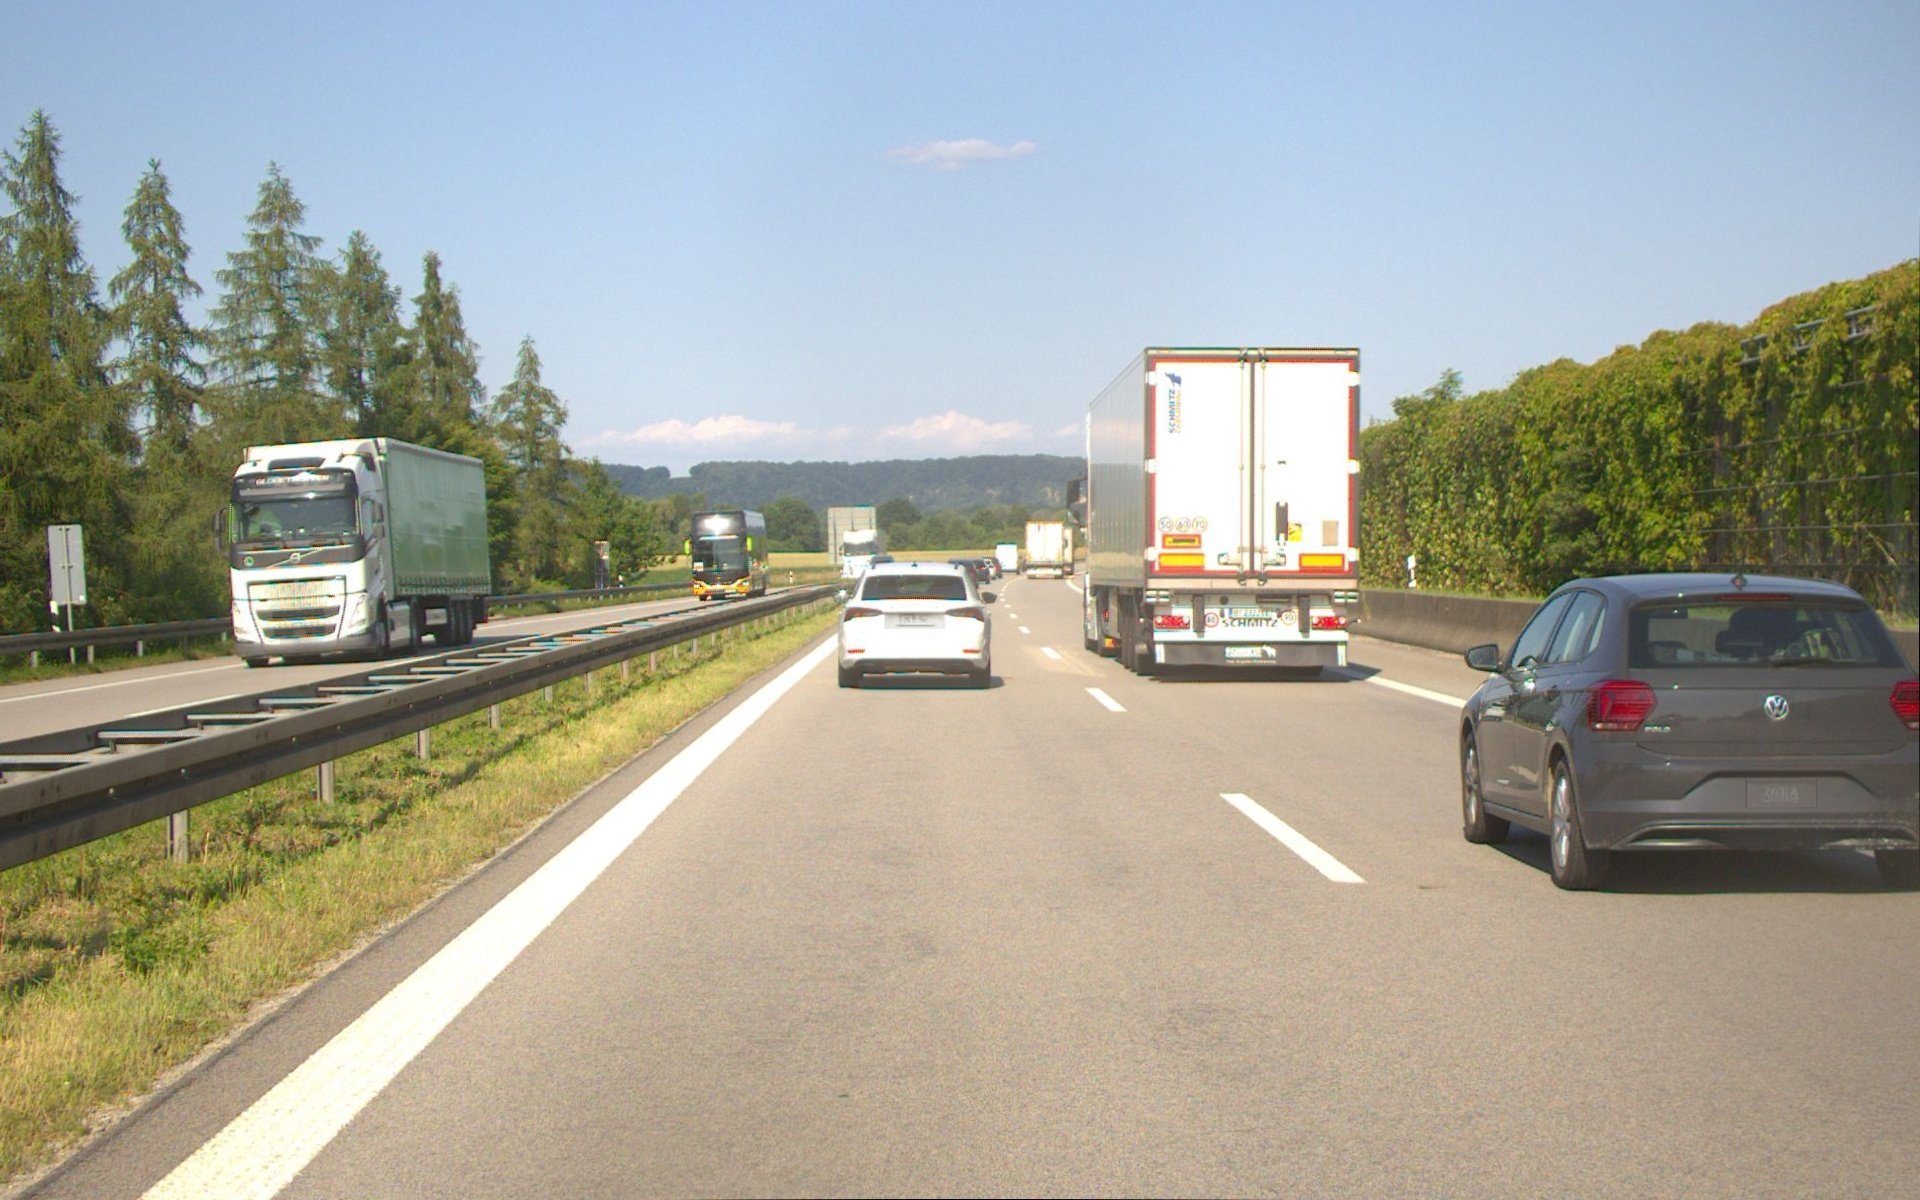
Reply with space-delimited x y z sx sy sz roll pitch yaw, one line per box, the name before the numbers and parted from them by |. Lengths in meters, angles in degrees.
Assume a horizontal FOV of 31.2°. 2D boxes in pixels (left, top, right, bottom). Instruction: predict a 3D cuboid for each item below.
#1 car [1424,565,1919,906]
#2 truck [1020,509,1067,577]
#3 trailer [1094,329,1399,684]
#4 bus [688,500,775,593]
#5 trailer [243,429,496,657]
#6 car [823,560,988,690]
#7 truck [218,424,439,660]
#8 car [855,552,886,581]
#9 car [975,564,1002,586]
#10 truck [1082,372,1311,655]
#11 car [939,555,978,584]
car | 3.466 0.559 17.051 1.665 1.449 4.544 0 1 -1
truck | 5.815 -3.975 240.531 3.152 4.596 8.905 -1 1 1
trailer | 3.512 -1.160 45.881 2.818 3.953 14.161 -1 1 0
bus | -10.563 -2.492 160.518 2.936 4.040 14.669 -2 1 0
trailer | -11.504 -1.122 68.504 2.661 3.994 14.088 -2 1 -1
car | -0.637 0.254 41.197 1.840 1.416 5.255 0 1 -1
truck | -11.479 -1.054 63.156 2.644 3.994 7.193 -2 1 0
car | -5.985 -2.263 230.434 1.754 1.843 5.011 -3 1 1
car | 1.939 -1.712 234.084 1.771 1.416 4.365 0 1 0
truck | 3.504 -1.287 52.645 2.840 3.953 7.044 -2 1 0
car | -0.097 -1.506 171.086 1.771 1.416 4.496 0 1 -2
